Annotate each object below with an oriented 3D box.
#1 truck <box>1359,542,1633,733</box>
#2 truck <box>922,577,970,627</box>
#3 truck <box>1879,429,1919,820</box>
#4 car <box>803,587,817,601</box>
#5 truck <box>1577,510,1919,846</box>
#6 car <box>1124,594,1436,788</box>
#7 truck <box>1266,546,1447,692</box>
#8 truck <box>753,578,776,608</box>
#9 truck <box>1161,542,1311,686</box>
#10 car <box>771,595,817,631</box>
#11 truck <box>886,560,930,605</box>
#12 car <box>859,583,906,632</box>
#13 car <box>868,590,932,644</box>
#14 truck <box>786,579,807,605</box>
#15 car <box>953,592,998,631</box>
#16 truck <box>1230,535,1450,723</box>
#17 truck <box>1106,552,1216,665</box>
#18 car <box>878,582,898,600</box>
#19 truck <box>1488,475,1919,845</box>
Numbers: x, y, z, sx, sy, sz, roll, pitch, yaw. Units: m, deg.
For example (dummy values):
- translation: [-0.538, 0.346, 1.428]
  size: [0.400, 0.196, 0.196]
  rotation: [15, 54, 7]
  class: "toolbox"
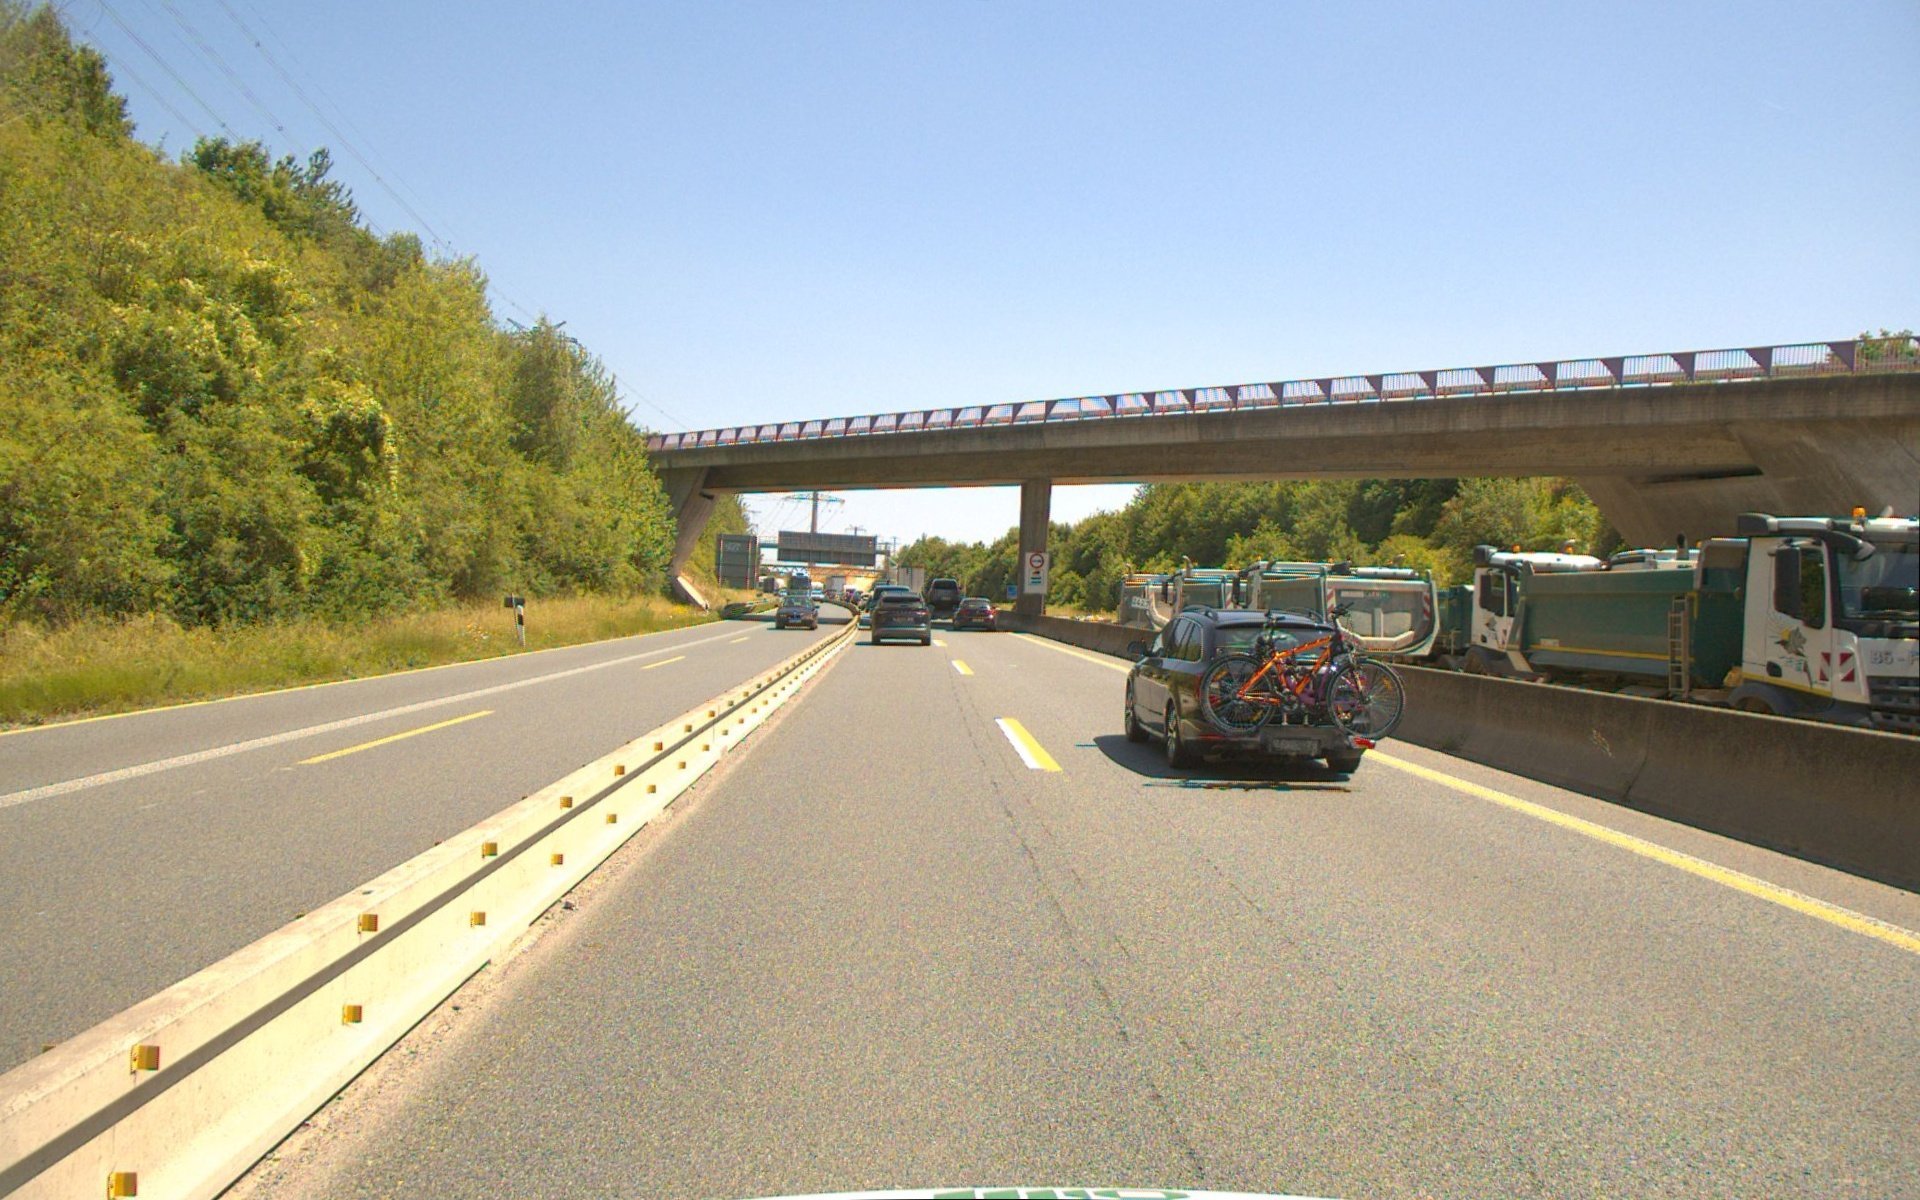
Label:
- translation: [11.438, 0.715, 36.470]
  size: [2.633, 3.619, 9.321]
  rotation: [1, 0, -2]
  class: "truck"
- translation: [-0.854, 0.059, 92.087]
  size: [2.357, 2.603, 7.496]
  rotation: [1, 0, -3]
  class: "truck"
- translation: [10.369, 0.269, 11.296]
  size: [2.633, 3.619, 9.321]
  rotation: [1, 0, -2]
  class: "truck"
- translation: [-20.663, -0.800, 227.764]
  size: [1.728, 1.870, 3.994]
  rotation: [1, 0, -6]
  class: "car"
- translation: [12.030, 0.903, 23.602]
  size: [2.633, 3.826, 9.321]
  rotation: [1, 0, -2]
  class: "truck"
- translation: [2.815, 0.741, 15.744]
  size: [1.861, 1.516, 4.946]
  rotation: [1, 0, -2]
  class: "car"
- translation: [11.337, 0.489, 48.344]
  size: [2.633, 3.792, 9.321]
  rotation: [1, 0, -2]
  class: "truck"
- translation: [-22.144, -0.818, 187.402]
  size: [2.460, 3.242, 10.095]
  rotation: [1, 0, -6]
  class: "truck"
- translation: [8.191, 0.380, 50.331]
  size: [2.633, 3.923, 9.321]
  rotation: [1, 0, -2]
  class: "truck"
- translation: [-7.004, 0.551, 69.925]
  size: [1.640, 1.418, 4.069]
  rotation: [1, 0, -2]
  class: "car"
- translation: [-4.840, -1.551, 152.032]
  size: [3.229, 3.912, 10.095]
  rotation: [1, 0, -6]
  class: "truck"
- translation: [-3.337, 0.316, 71.772]
  size: [1.860, 2.003, 4.275]
  rotation: [1, 0, -1]
  class: "car"
- translation: [-1.810, 0.503, 51.162]
  size: [1.860, 1.531, 4.275]
  rotation: [1, 0, -1]
  class: "car"
- translation: [-21.073, -1.014, 212.569]
  size: [2.460, 3.242, 10.095]
  rotation: [1, 0, -6]
  class: "truck"
- translation: [0.648, 0.474, 72.400]
  size: [1.860, 1.613, 4.275]
  rotation: [1, 0, -1]
  class: "car"
- translation: [8.590, 0.582, 38.717]
  size: [2.633, 3.826, 9.321]
  rotation: [1, 0, -2]
  class: "truck"
- translation: [7.483, 0.286, 62.733]
  size: [2.633, 3.910, 9.321]
  rotation: [1, 0, -2]
  class: "truck"
- translation: [-8.151, -1.044, 187.213]
  size: [1.863, 2.003, 4.270]
  rotation: [1, 0, -7]
  class: "car"
- translation: [9.690, 0.596, 20.957]
  size: [2.633, 3.619, 9.321]
  rotation: [1, 0, -2]
  class: "truck"
